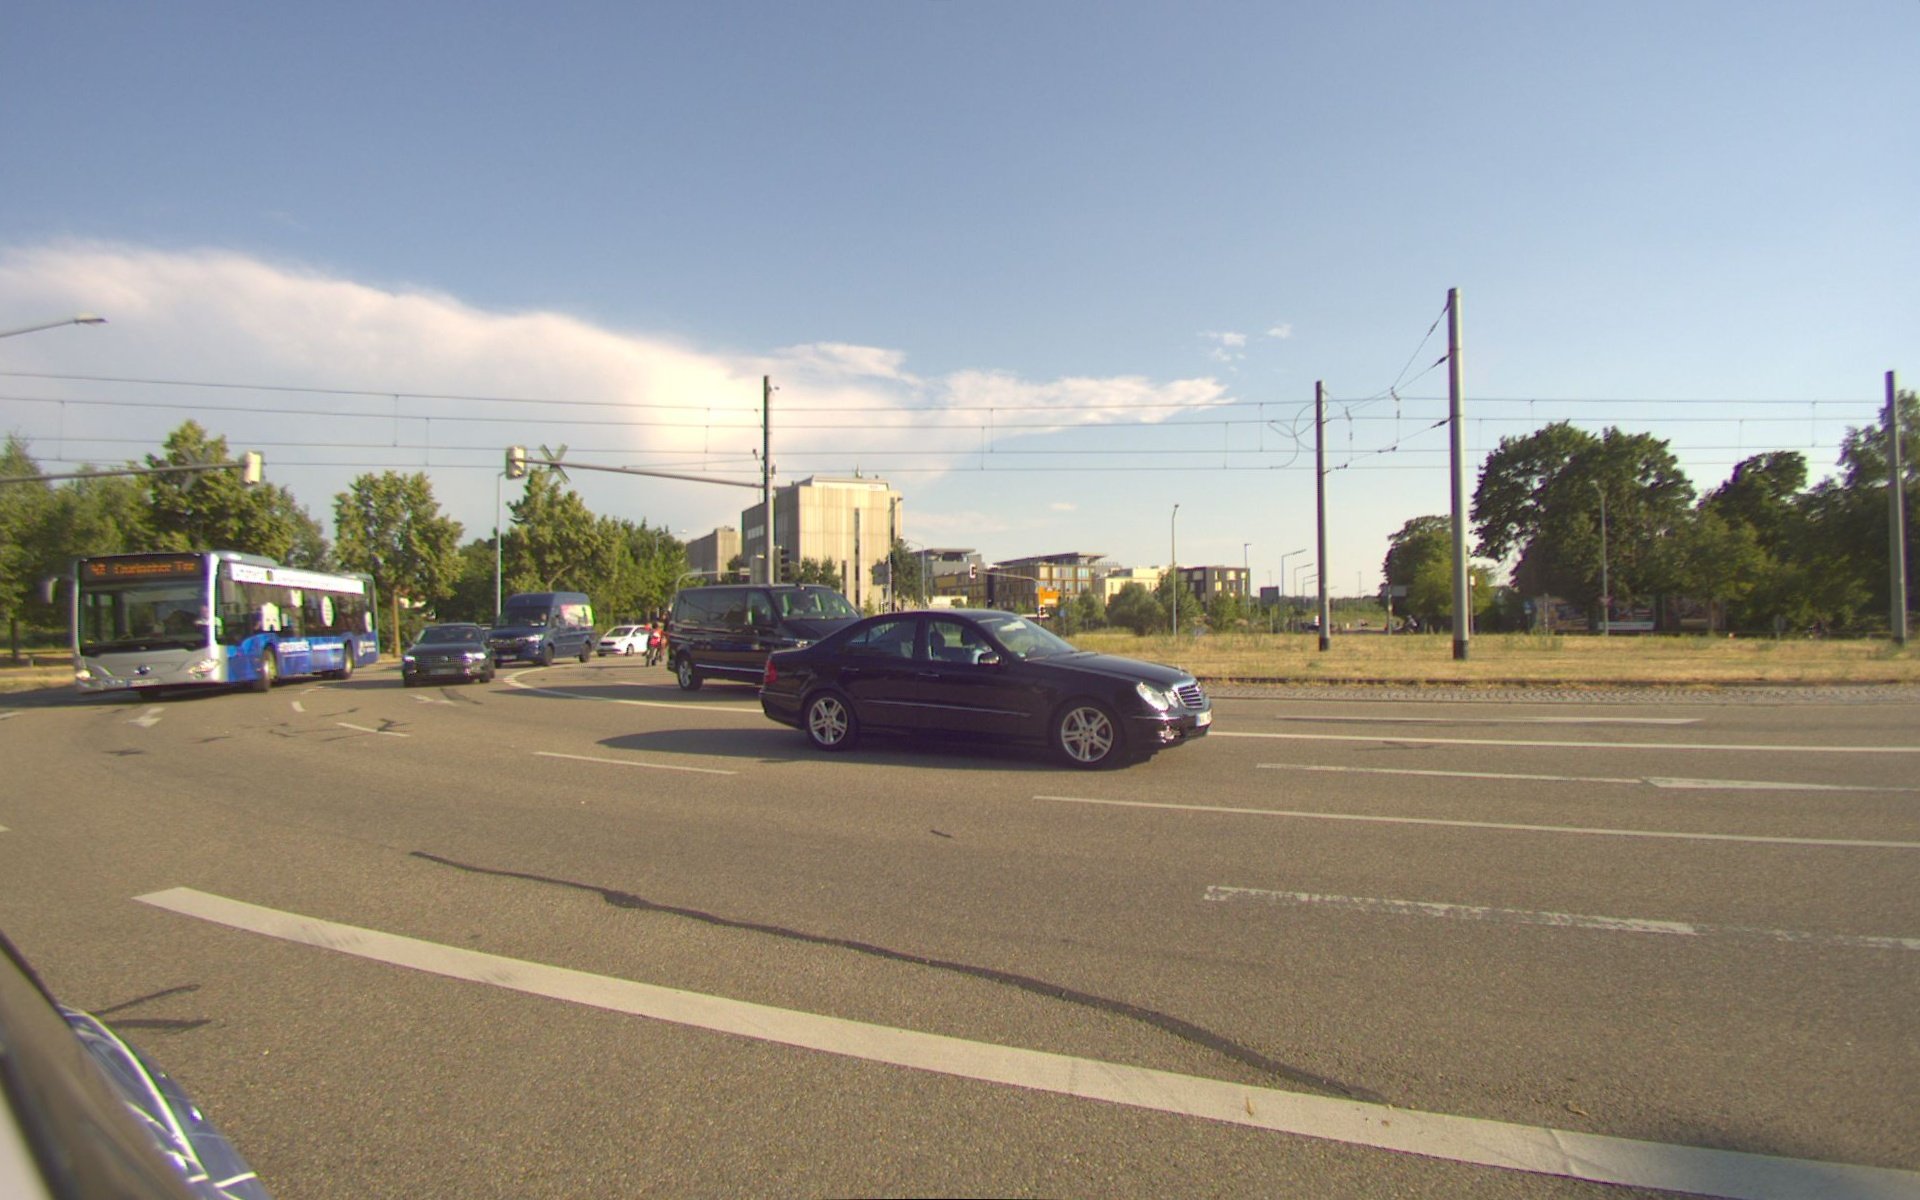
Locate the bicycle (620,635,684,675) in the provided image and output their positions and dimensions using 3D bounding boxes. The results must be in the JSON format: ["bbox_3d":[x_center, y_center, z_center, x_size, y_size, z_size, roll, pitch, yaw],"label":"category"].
[{"bbox_3d":[-9.589,1.706,31.476,2.026,1.193,0.811,-2,-2,34],"label":"bicycle"}]

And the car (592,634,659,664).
[{"bbox_3d":[-17.369,2.517,52.697,1.663,1.529,3.987,-1,-2,10],"label":"car"}]

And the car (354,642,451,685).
[{"bbox_3d":[-21.465,2.409,39.157,1.969,1.535,4.006,0,-2,-7],"label":"car"}]

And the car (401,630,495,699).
[{"bbox_3d":[-12.286,1.468,24.137,1.780,1.447,4.400,0,-2,-30],"label":"car"}]

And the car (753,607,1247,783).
[{"bbox_3d":[0.293,0.844,10.193,4.683,1.417,1.824,-2,-2,31],"label":"car"}]

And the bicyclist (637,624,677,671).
[{"bbox_3d":[-9.377,1.461,31.322,0.770,1.395,0.873,-2,1,35],"label":"bicyclist"}]

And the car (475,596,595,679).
[{"bbox_3d":[-14.719,1.316,35.437,1.971,2.614,5.486,-2,-2,-1],"label":"car"}]

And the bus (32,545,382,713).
[{"bbox_3d":[-17.420,0.696,24.869,2.621,3.085,12.212,0,-2,-15],"label":"bus"}]

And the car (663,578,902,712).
[{"bbox_3d":[-3.379,0.769,18.263,2.061,2.063,5.255,0,-2,-37],"label":"car"}]
